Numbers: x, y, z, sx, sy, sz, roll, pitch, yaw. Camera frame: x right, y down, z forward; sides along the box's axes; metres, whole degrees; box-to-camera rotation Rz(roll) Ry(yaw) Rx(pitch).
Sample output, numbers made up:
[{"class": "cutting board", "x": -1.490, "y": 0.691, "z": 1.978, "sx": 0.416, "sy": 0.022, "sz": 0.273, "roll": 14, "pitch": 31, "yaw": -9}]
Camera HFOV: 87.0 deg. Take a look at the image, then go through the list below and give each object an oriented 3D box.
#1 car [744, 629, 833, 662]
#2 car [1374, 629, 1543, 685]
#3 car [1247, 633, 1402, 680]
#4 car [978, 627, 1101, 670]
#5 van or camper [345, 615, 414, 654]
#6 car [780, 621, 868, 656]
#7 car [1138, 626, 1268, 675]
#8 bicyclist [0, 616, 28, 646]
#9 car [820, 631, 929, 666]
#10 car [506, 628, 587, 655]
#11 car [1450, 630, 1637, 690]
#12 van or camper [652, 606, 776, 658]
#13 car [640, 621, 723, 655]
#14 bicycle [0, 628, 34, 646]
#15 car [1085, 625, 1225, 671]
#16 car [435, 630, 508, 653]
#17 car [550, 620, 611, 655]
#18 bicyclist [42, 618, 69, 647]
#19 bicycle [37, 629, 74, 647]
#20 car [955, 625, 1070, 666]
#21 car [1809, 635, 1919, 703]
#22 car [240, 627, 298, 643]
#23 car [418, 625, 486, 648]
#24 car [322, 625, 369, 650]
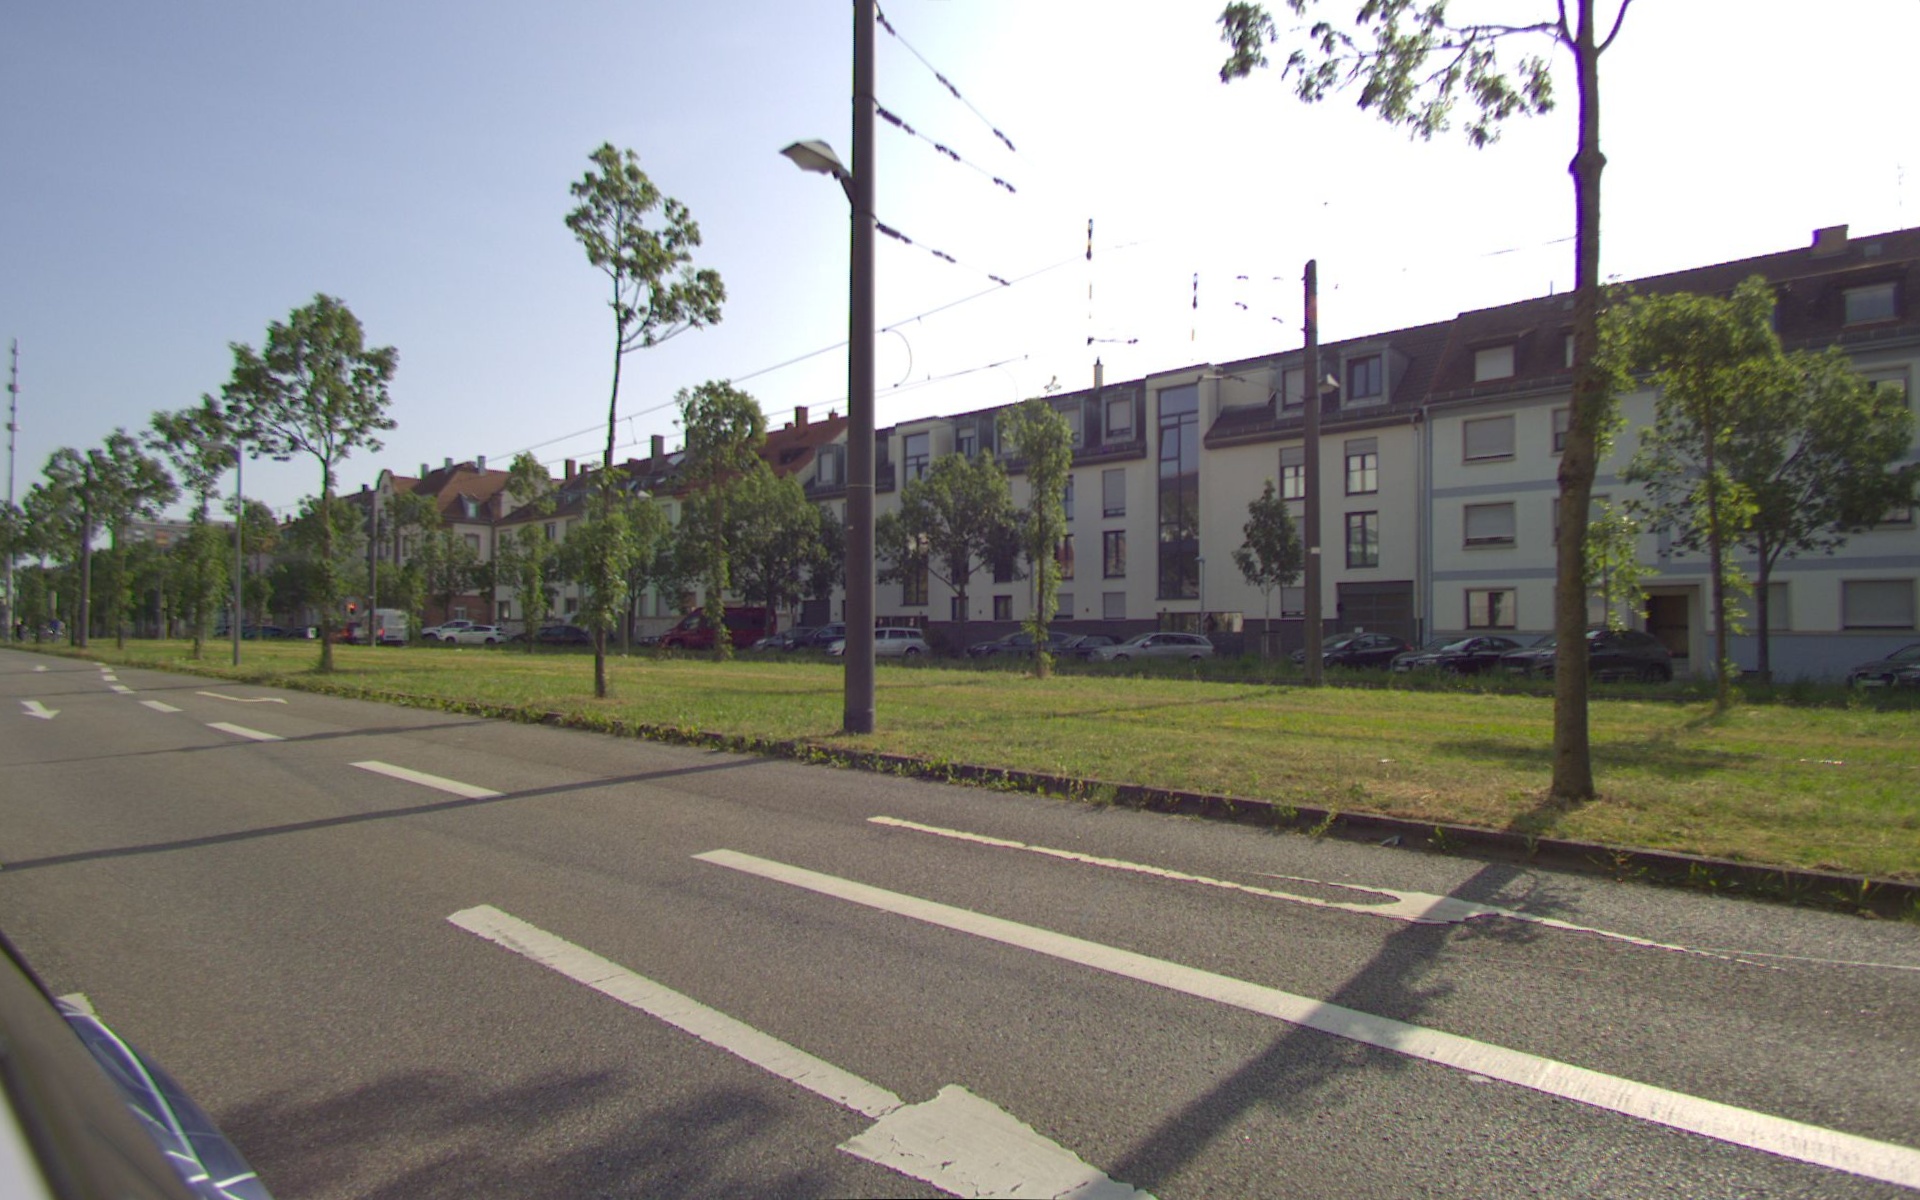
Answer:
[{"class": "car", "x": -8.028, "y": 2.104, "z": 47.266, "sx": 3.933, "sy": 1.431, "sz": 1.786, "roll": -1, "pitch": 0, "yaw": -13}, {"class": "car", "x": 13.549, "y": 1.510, "z": 27.515, "sx": 3.930, "sy": 1.298, "sz": 2.007, "roll": -1, "pitch": 0, "yaw": -23}, {"class": "car", "x": 10.650, "y": 1.625, "z": 29.625, "sx": 3.930, "sy": 1.298, "sz": 2.006, "roll": 1, "pitch": -2, "yaw": -23}, {"class": "car", "x": 2.849, "y": 1.709, "z": 36.455, "sx": 3.931, "sy": 1.386, "sz": 1.933, "roll": -1, "pitch": -1, "yaw": -21}, {"class": "van or camper", "x": -39.161, "y": 2.316, "z": 68.228, "sx": 6.056, "sy": 2.493, "sz": 2.119, "roll": -1, "pitch": -4, "yaw": 42}, {"class": "car", "x": -6.061, "y": 1.674, "z": 45.040, "sx": 3.658, "sy": 1.445, "sz": 1.646, "roll": -1, "pitch": -1, "yaw": -16}, {"class": "car", "x": 7.717, "y": 1.566, "z": 32.151, "sx": 3.715, "sy": 1.386, "sz": 1.670, "roll": -1, "pitch": -1, "yaw": -22}, {"class": "bicyclist", "x": -59.534, "y": 1.948, "z": 63.679, "sx": 0.897, "sy": 1.836, "sz": 0.869, "roll": 0, "pitch": -2, "yaw": 7}, {"class": "car", "x": -3.623, "y": 2.026, "z": 42.905, "sx": 4.325, "sy": 1.330, "sz": 1.739, "roll": -1, "pitch": -1, "yaw": -16}, {"class": "car", "x": -25.448, "y": 2.525, "z": 62.446, "sx": 4.281, "sy": 1.541, "sz": 2.004, "roll": -1, "pitch": 0, "yaw": -9}, {"class": "car", "x": 14.717, "y": 1.475, "z": 25.579, "sx": 3.989, "sy": 1.298, "sz": 2.006, "roll": -1, "pitch": 0, "yaw": -21}, {"class": "van or camper", "x": -12.552, "y": 1.640, "z": 52.029, "sx": 6.061, "sy": 2.566, "sz": 2.419, "roll": 0, "pitch": -2, "yaw": -11}, {"class": "car", "x": -14.831, "y": 1.994, "z": 54.065, "sx": 4.086, "sy": 1.628, "sz": 1.873, "roll": 0, "pitch": 2, "yaw": -10}, {"class": "bicycle", "x": -59.447, "y": 2.315, "z": 63.704, "sx": 0.569, "sy": 1.154, "sz": 1.749, "roll": 0, "pitch": -2, "yaw": 6}, {"class": "car", "x": 6.655, "y": 1.599, "z": 34.544, "sx": 4.265, "sy": 1.386, "sz": 2.007, "roll": -1, "pitch": -1, "yaw": -22}, {"class": "car", "x": -34.295, "y": 2.916, "z": 71.196, "sx": 4.295, "sy": 1.486, "sz": 1.862, "roll": -1, "pitch": 0, "yaw": -11}, {"class": "car", "x": -28.250, "y": 2.741, "z": 75.181, "sx": 5.578, "sy": 2.482, "sz": 1.972, "roll": -1, "pitch": -1, "yaw": 43}, {"class": "bicyclist", "x": -59.832, "y": 2.122, "z": 66.919, "sx": 1.168, "sy": 1.864, "sz": 0.913, "roll": -1, "pitch": -1, "yaw": -31}, {"class": "bicycle", "x": -59.868, "y": 2.495, "z": 67.007, "sx": 1.763, "sy": 1.154, "sz": 0.578, "roll": -1, "pitch": -1, "yaw": -31}, {"class": "car", "x": 1.991, "y": 1.700, "z": 38.655, "sx": 3.931, "sy": 1.386, "sz": 1.842, "roll": -1, "pitch": -1, "yaw": -21}, {"class": "car", "x": 20.236, "y": 1.396, "z": 21.265, "sx": 3.932, "sy": 1.244, "sz": 1.704, "roll": -1, "pitch": 0, "yaw": -15}, {"class": "car", "x": -70.658, "y": 3.561, "z": 103.542, "sx": 4.438, "sy": 1.451, "sz": 2.006, "roll": -1, "pitch": 0, "yaw": -17}, {"class": "car", "x": -36.605, "y": 2.619, "z": 73.055, "sx": 4.032, "sy": 1.541, "sz": 1.817, "roll": -1, "pitch": 0, "yaw": -11}, {"class": "car", "x": -44.289, "y": 2.688, "z": 72.934, "sx": 4.161, "sy": 1.751, "sz": 1.796, "roll": -1, "pitch": -4, "yaw": 43}]
